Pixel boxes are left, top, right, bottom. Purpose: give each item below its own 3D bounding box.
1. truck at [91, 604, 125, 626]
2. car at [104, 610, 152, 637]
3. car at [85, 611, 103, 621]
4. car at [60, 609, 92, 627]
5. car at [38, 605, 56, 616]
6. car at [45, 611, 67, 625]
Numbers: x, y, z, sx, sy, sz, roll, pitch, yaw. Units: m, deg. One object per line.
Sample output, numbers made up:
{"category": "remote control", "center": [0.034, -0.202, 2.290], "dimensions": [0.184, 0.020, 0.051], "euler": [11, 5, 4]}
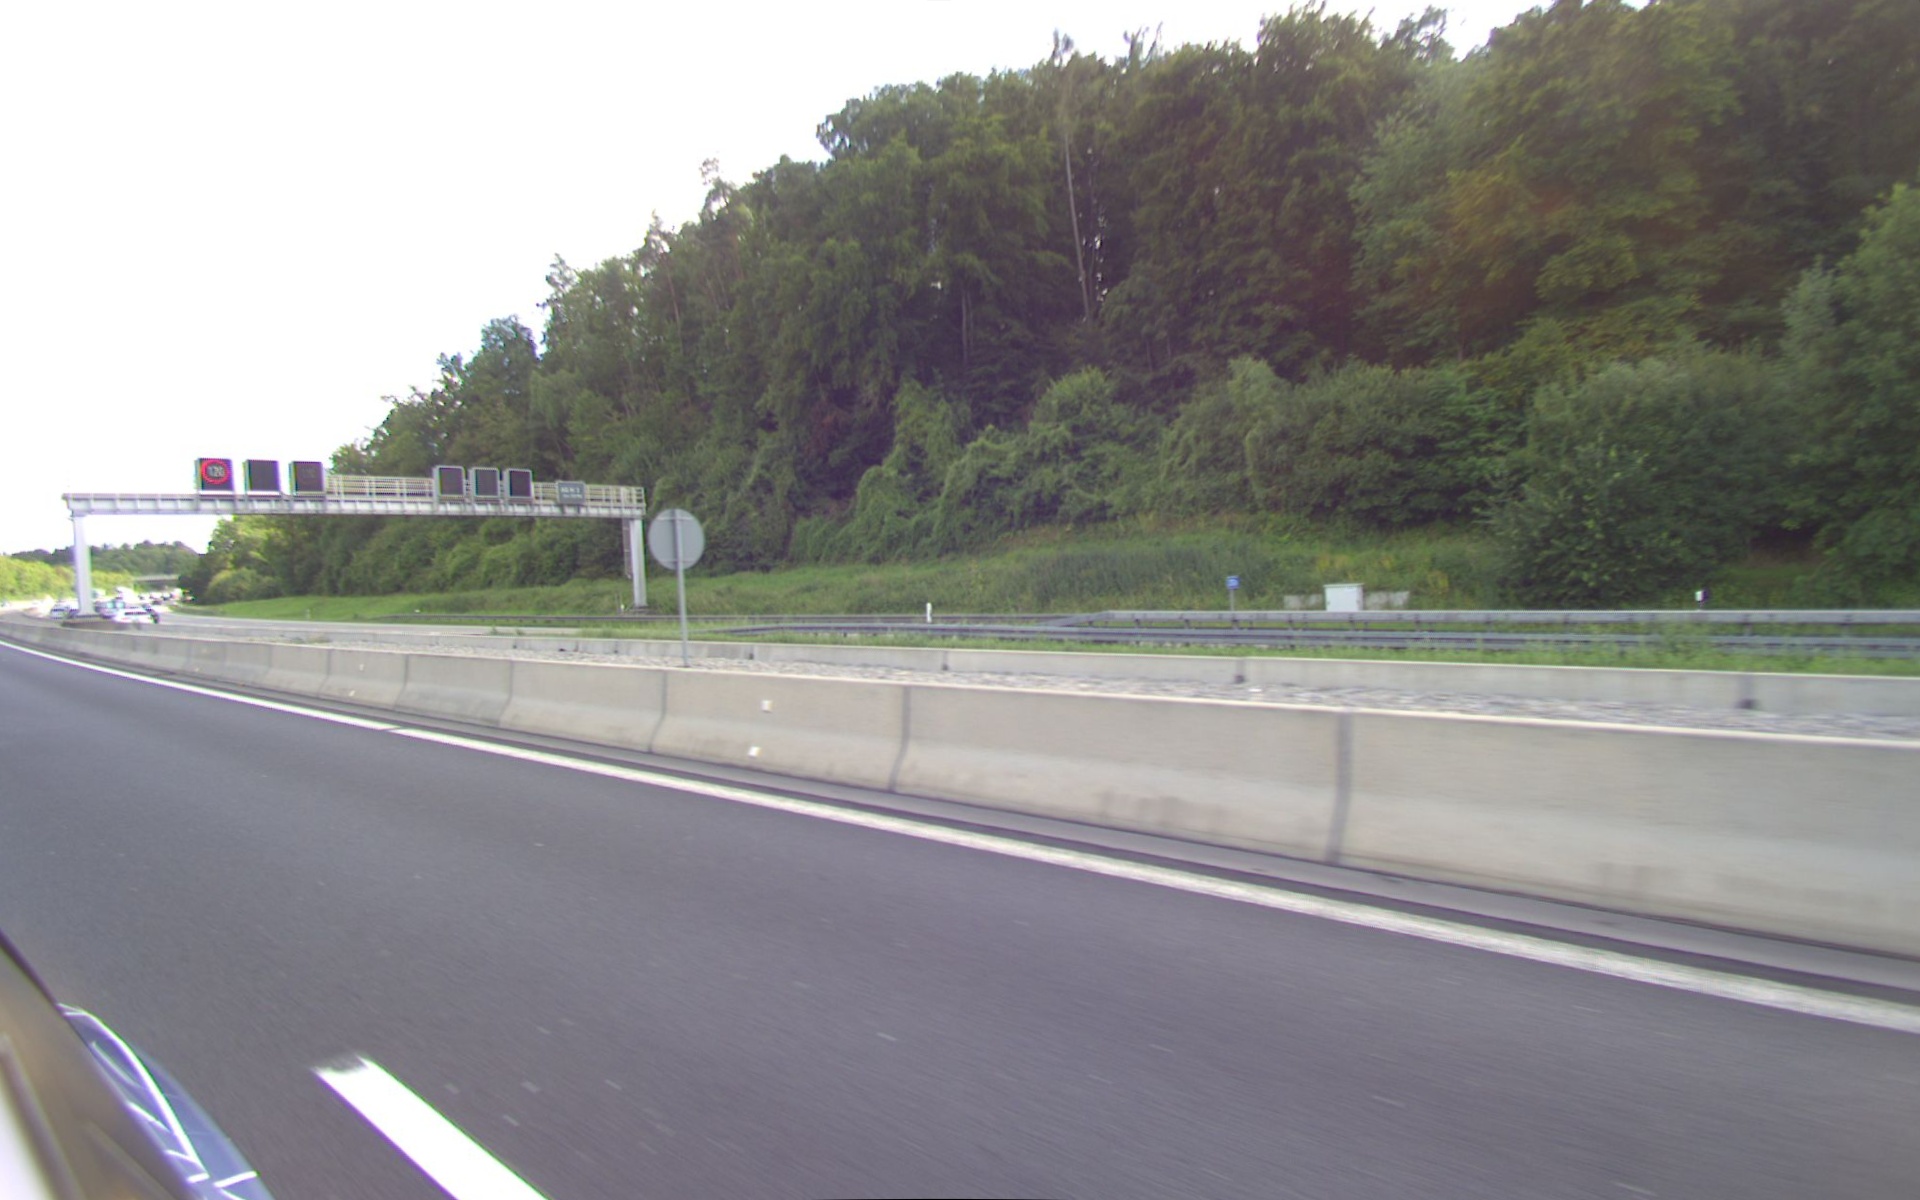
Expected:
{"category": "truck", "center": [-88.612, 1.548, 105.225], "dimensions": [5.573, 2.242, 2.159], "euler": [-1, 0, 45]}
{"category": "car", "center": [-52.548, 1.445, 63.866], "dimensions": [4.933, 1.593, 1.745], "euler": [-1, 0, 44]}
{"category": "car", "center": [-140.829, 2.582, 164.598], "dimensions": [1.970, 1.551, 4.744], "euler": [-2, 0, -43]}
{"category": "car", "center": [-83.862, 1.656, 95.955], "dimensions": [4.002, 1.653, 1.971], "euler": [-1, 0, 45]}
{"category": "car", "center": [-135.669, 1.609, 150.432], "dimensions": [4.502, 1.551, 1.680], "euler": [-1, 0, 44]}
{"category": "car", "center": [-99.114, 1.957, 110.943], "dimensions": [3.890, 1.461, 1.547], "euler": [-1, 0, 45]}
